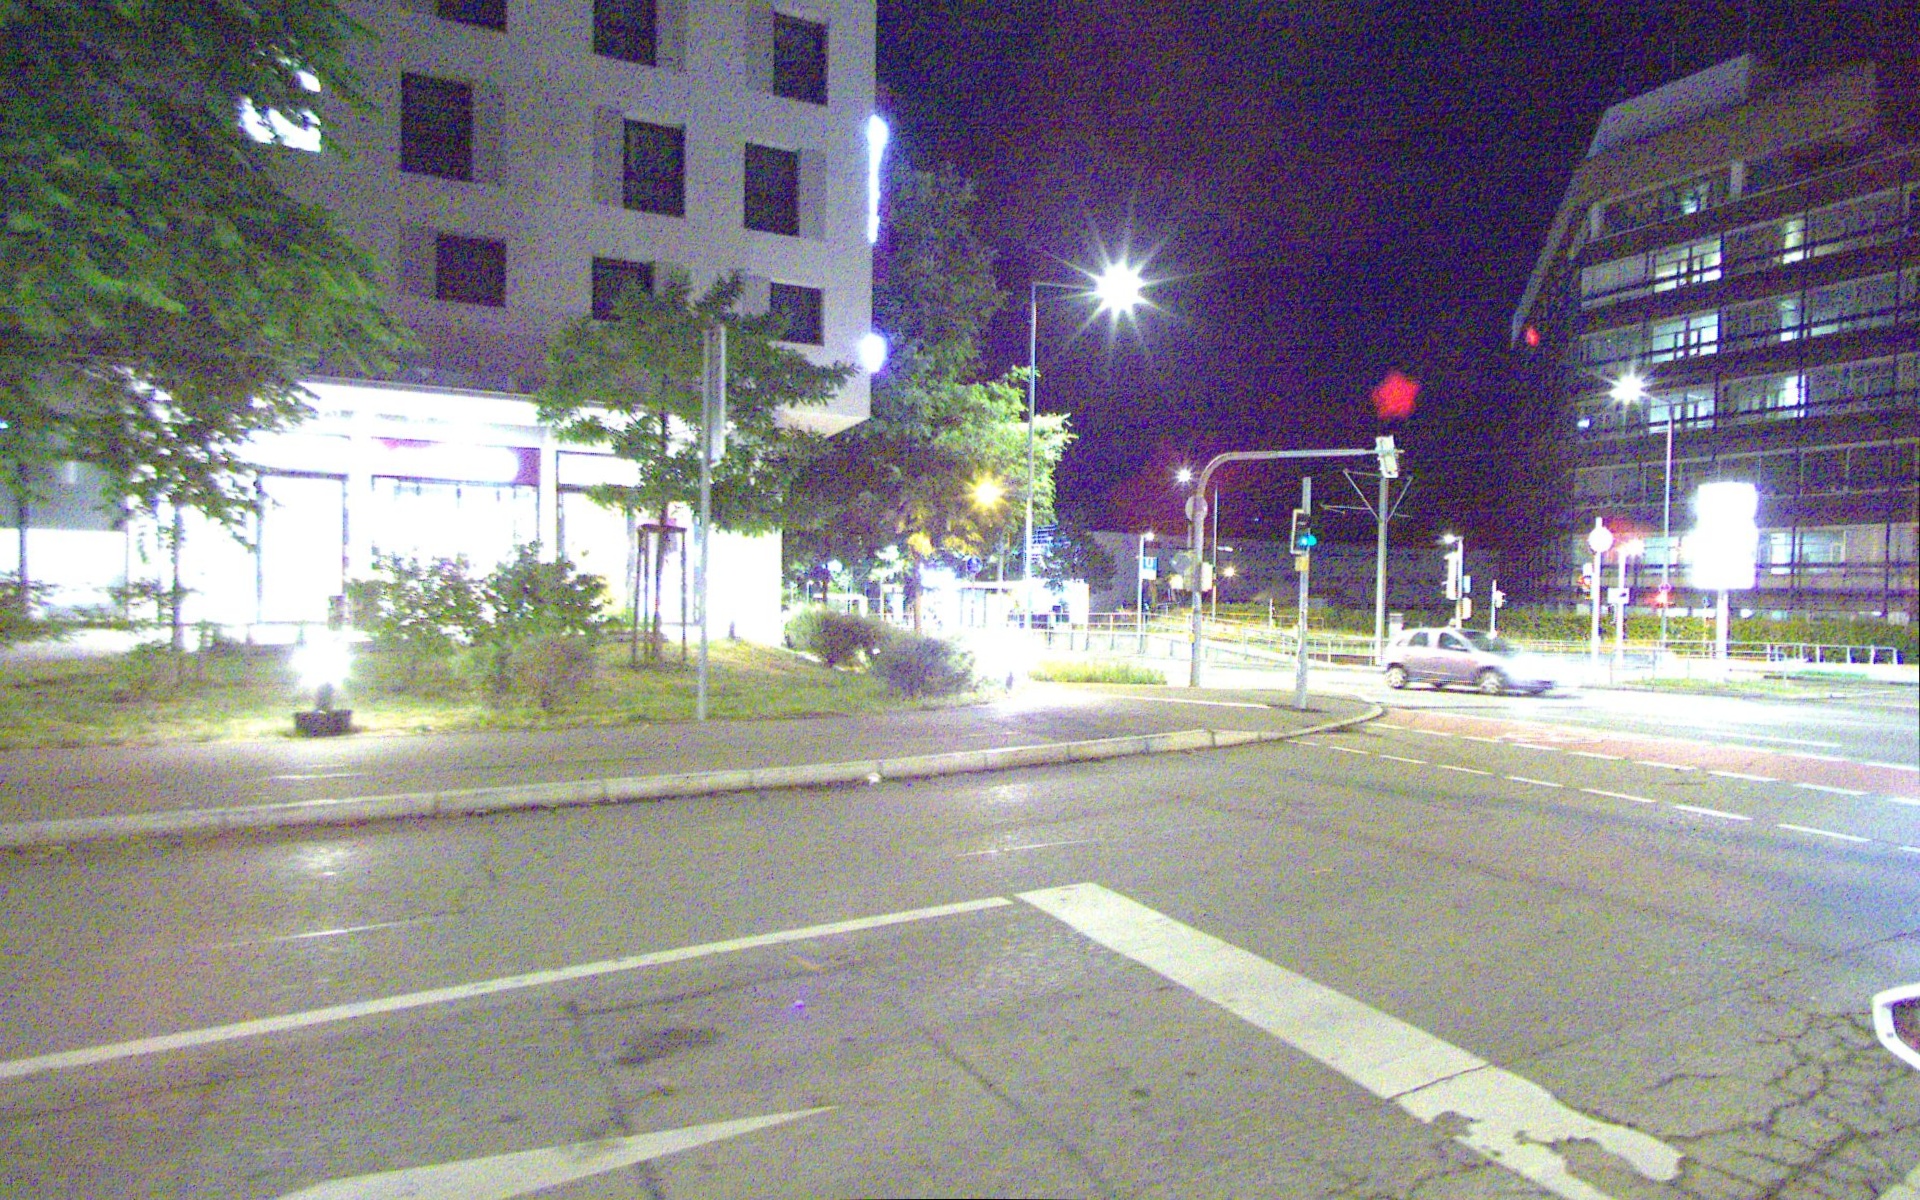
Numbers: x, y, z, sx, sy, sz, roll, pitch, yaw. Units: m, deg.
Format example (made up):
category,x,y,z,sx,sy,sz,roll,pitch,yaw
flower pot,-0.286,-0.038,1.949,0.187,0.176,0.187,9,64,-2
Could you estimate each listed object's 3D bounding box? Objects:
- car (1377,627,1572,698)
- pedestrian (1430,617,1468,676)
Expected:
category,x,y,z,sx,sy,sz,roll,pitch,yaw
car,11.447,1.358,22.588,1.621,1.439,3.677,0,-2,-25
pedestrian,14.642,1.390,30.085,0.669,1.745,0.703,2,0,-22
